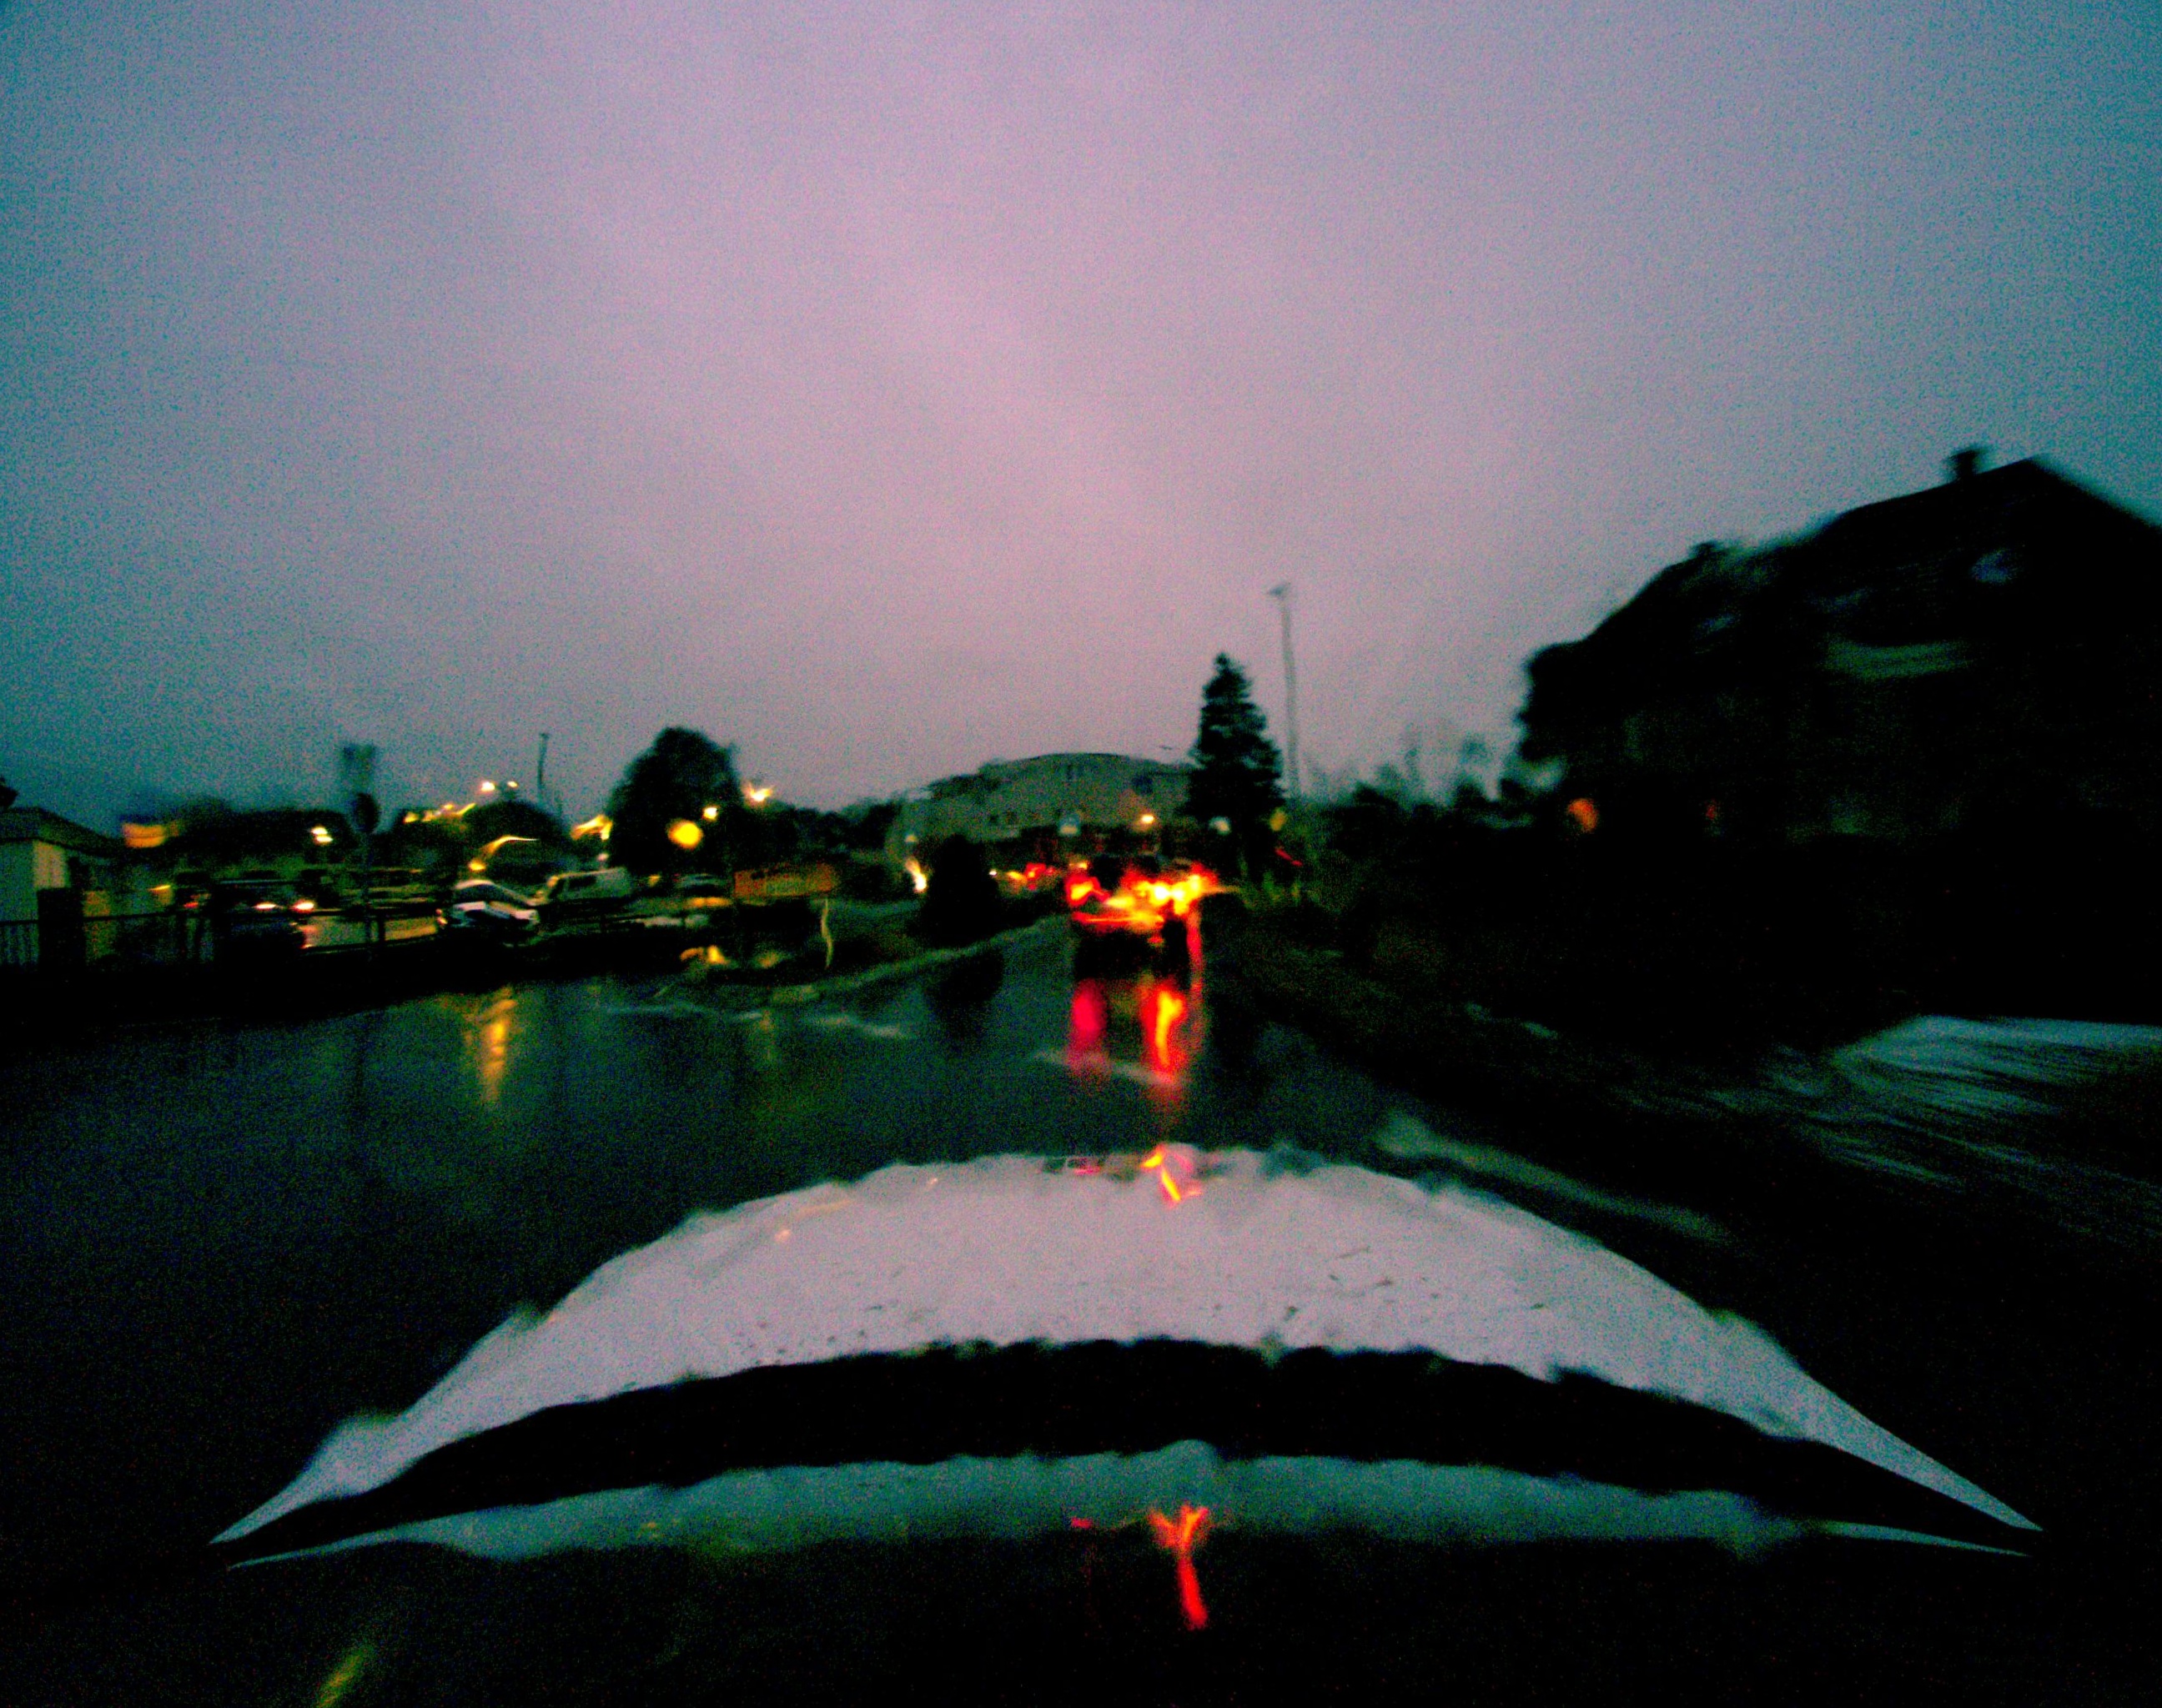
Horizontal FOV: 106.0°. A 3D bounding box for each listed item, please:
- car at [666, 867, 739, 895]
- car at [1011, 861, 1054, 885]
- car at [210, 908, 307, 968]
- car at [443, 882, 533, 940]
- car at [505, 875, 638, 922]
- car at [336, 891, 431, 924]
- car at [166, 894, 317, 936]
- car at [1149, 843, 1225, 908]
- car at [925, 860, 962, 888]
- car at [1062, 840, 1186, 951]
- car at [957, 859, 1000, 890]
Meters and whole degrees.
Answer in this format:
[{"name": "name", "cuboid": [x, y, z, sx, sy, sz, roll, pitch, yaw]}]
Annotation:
[{"name": "car", "cuboid": [-27.183, 1.912, 58.572, 4.382, 1.747, 1.685, -3, 1, -44]}, {"name": "car", "cuboid": [-3.593, 1.422, 59.819, 1.889, 1.548, 4.540, -2, -2, -20]}, {"name": "car", "cuboid": [-23.587, 2.340, 23.402, 3.950, 1.311, 1.853, -1, 0, 45]}, {"name": "car", "cuboid": [-19.123, 1.749, 26.171, 2.075, 1.561, 4.231, 0, 0, -40]}, {"name": "car", "cuboid": [-26.251, 2.211, 42.130, 2.007, 2.134, 5.457, -1, -1, 41]}, {"name": "car", "cuboid": [-39.249, 2.972, 45.872, 1.706, 1.541, 3.875, -1, 0, 42]}, {"name": "car", "cuboid": [-40.993, 2.932, 39.987, 5.080, 1.665, 1.774, -1, 0, -43]}, {"name": "car", "cuboid": [3.509, 0.615, 26.345, 2.150, 1.689, 4.584, -3, 1, 9]}, {"name": "car", "cuboid": [-11.068, 1.535, 65.226, 2.170, 2.060, 4.542, -2, 1, -19]}, {"name": "car", "cuboid": [0.768, 0.656, 15.169, 1.937, 1.718, 4.002, -2, 0, 2]}, {"name": "car", "cuboid": [-7.588, 1.473, 59.919, 2.171, 2.060, 4.540, -2, 1, -20]}]
